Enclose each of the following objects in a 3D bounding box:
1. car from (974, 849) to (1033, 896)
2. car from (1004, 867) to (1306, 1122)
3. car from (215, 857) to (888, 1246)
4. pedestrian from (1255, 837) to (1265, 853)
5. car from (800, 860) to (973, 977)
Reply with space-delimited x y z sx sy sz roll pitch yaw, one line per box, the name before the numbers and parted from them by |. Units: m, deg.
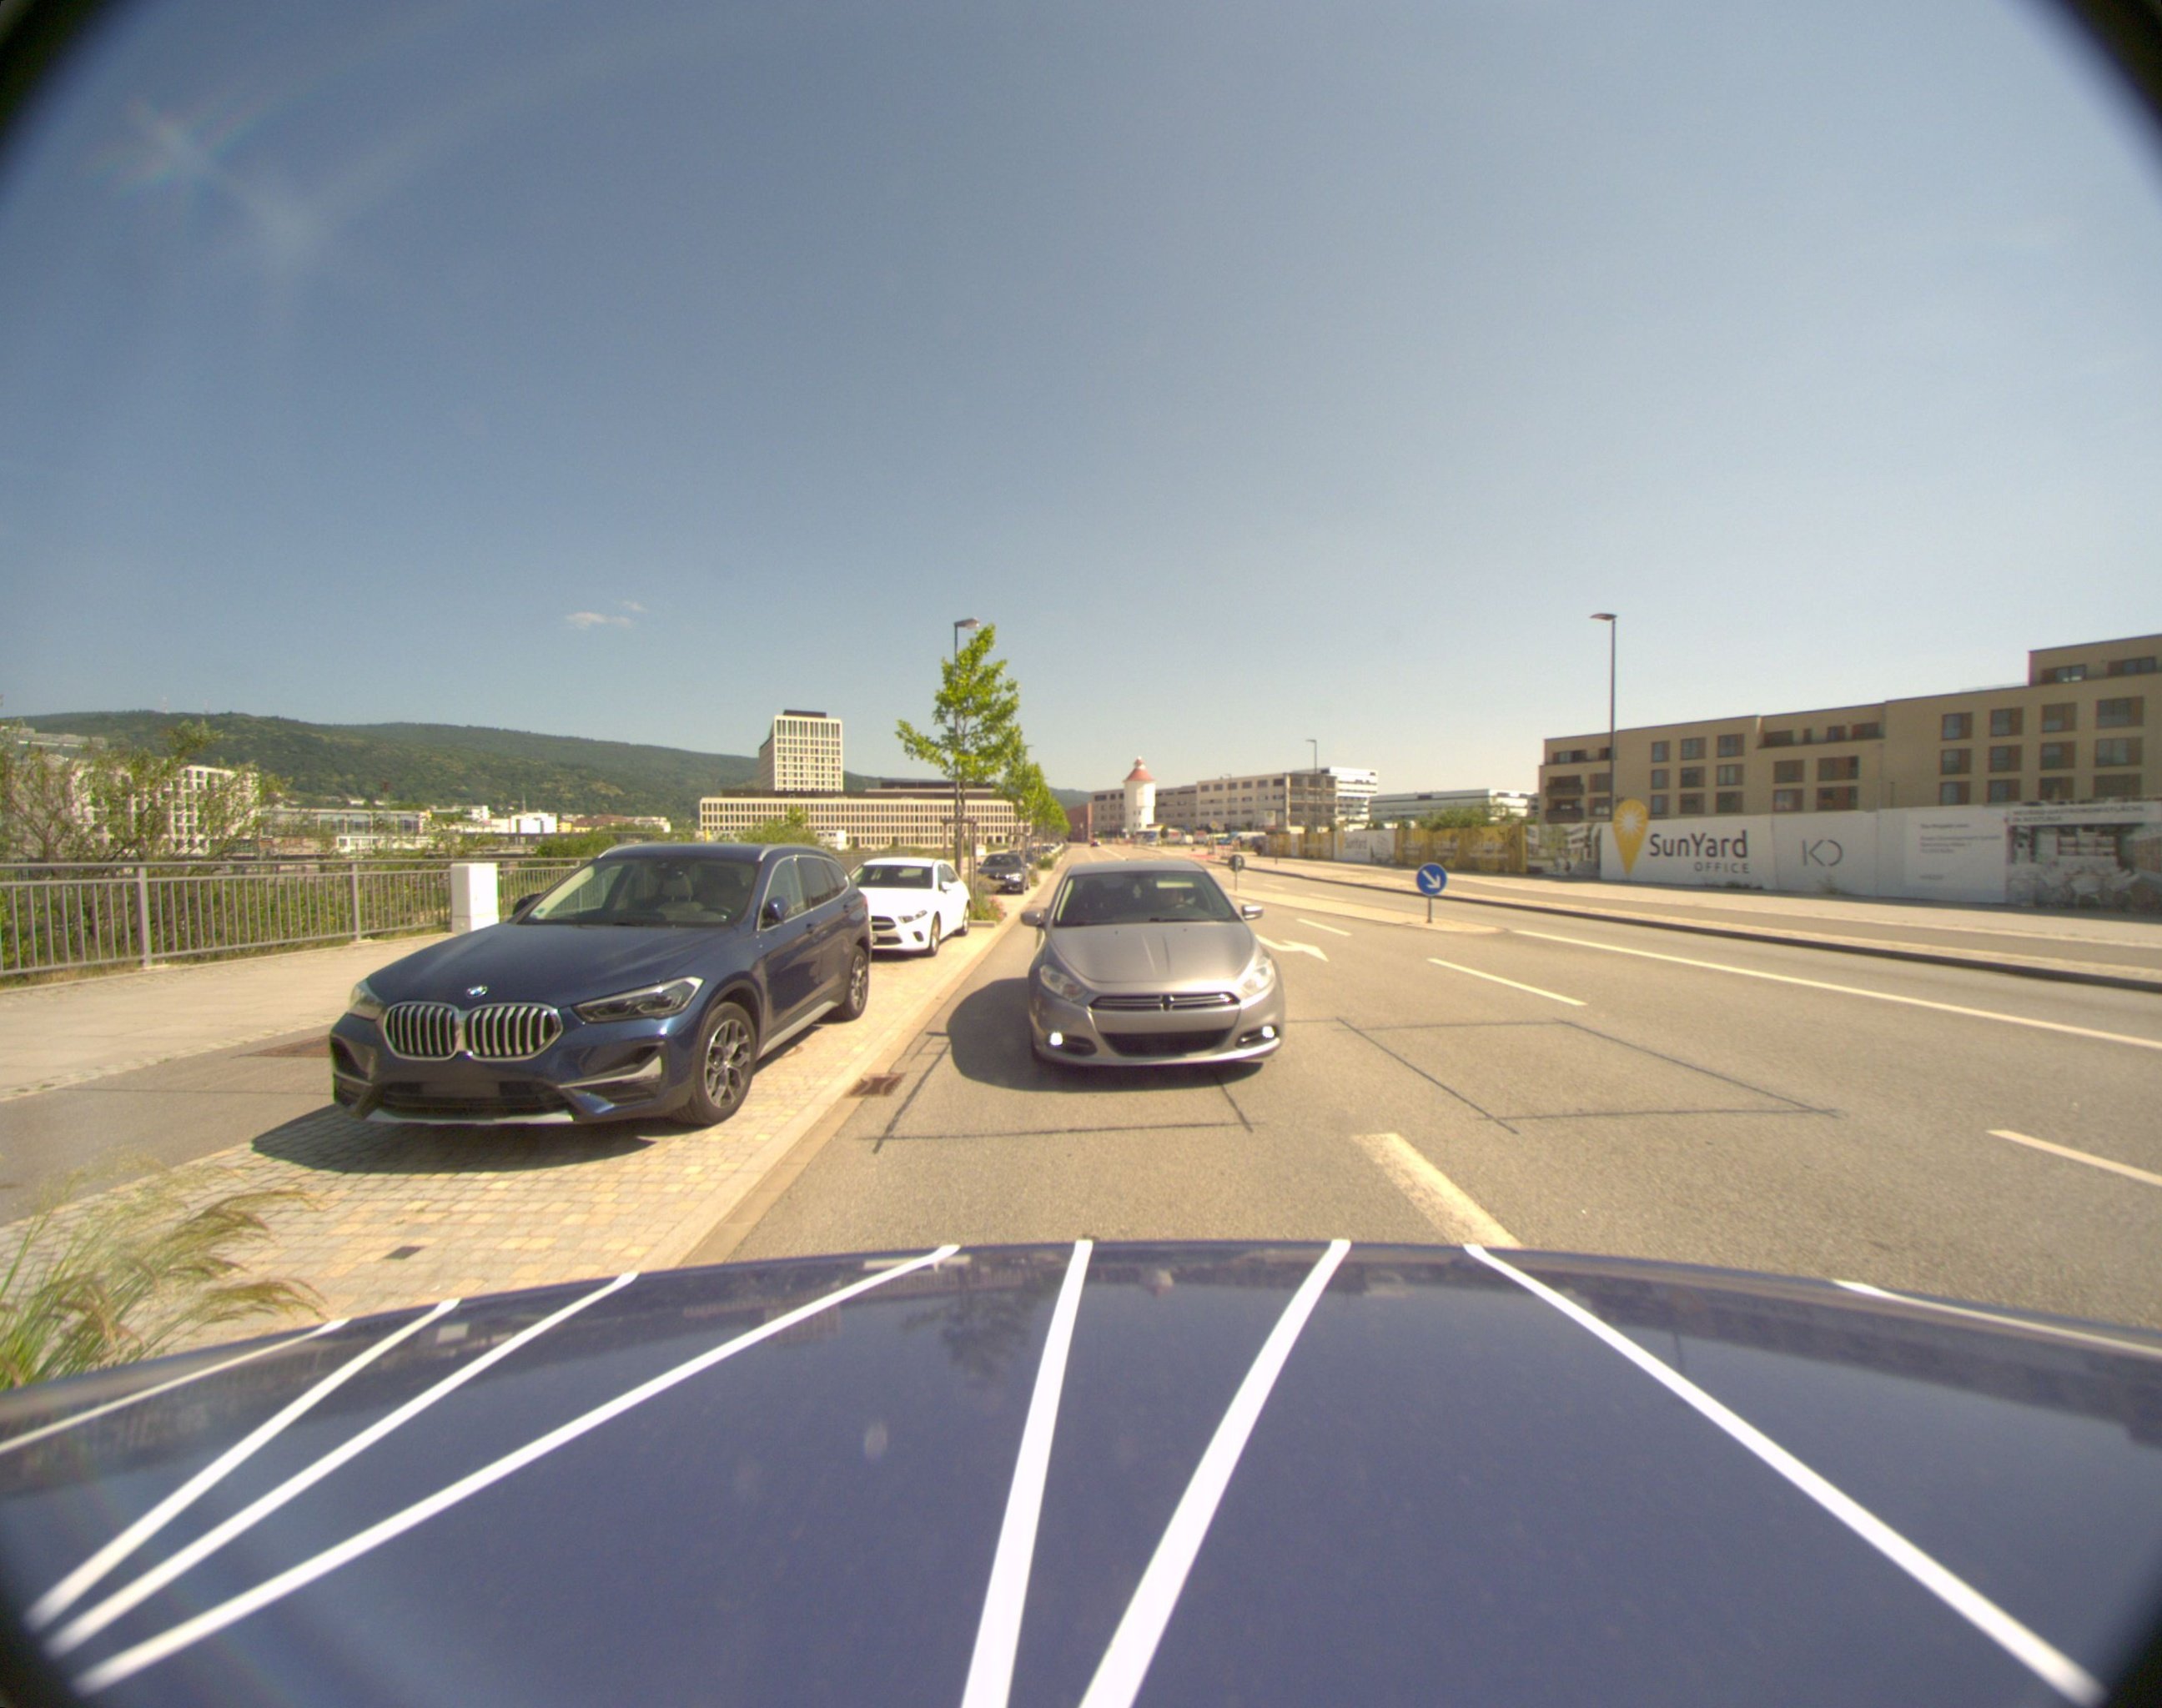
car | -2.771 0.637 28.056 1.664 1.529 3.999 -2 1 1
car | 0.480 0.897 6.686 1.784 1.372 4.135 -2 1 1
car | -2.877 0.888 5.479 1.769 1.598 4.238 -2 1 1
pedestrian | 18.156 -0.942 77.099 0.705 1.577 0.617 -3 1 -36
car | -2.915 0.891 12.278 1.664 1.447 3.999 -2 1 1
